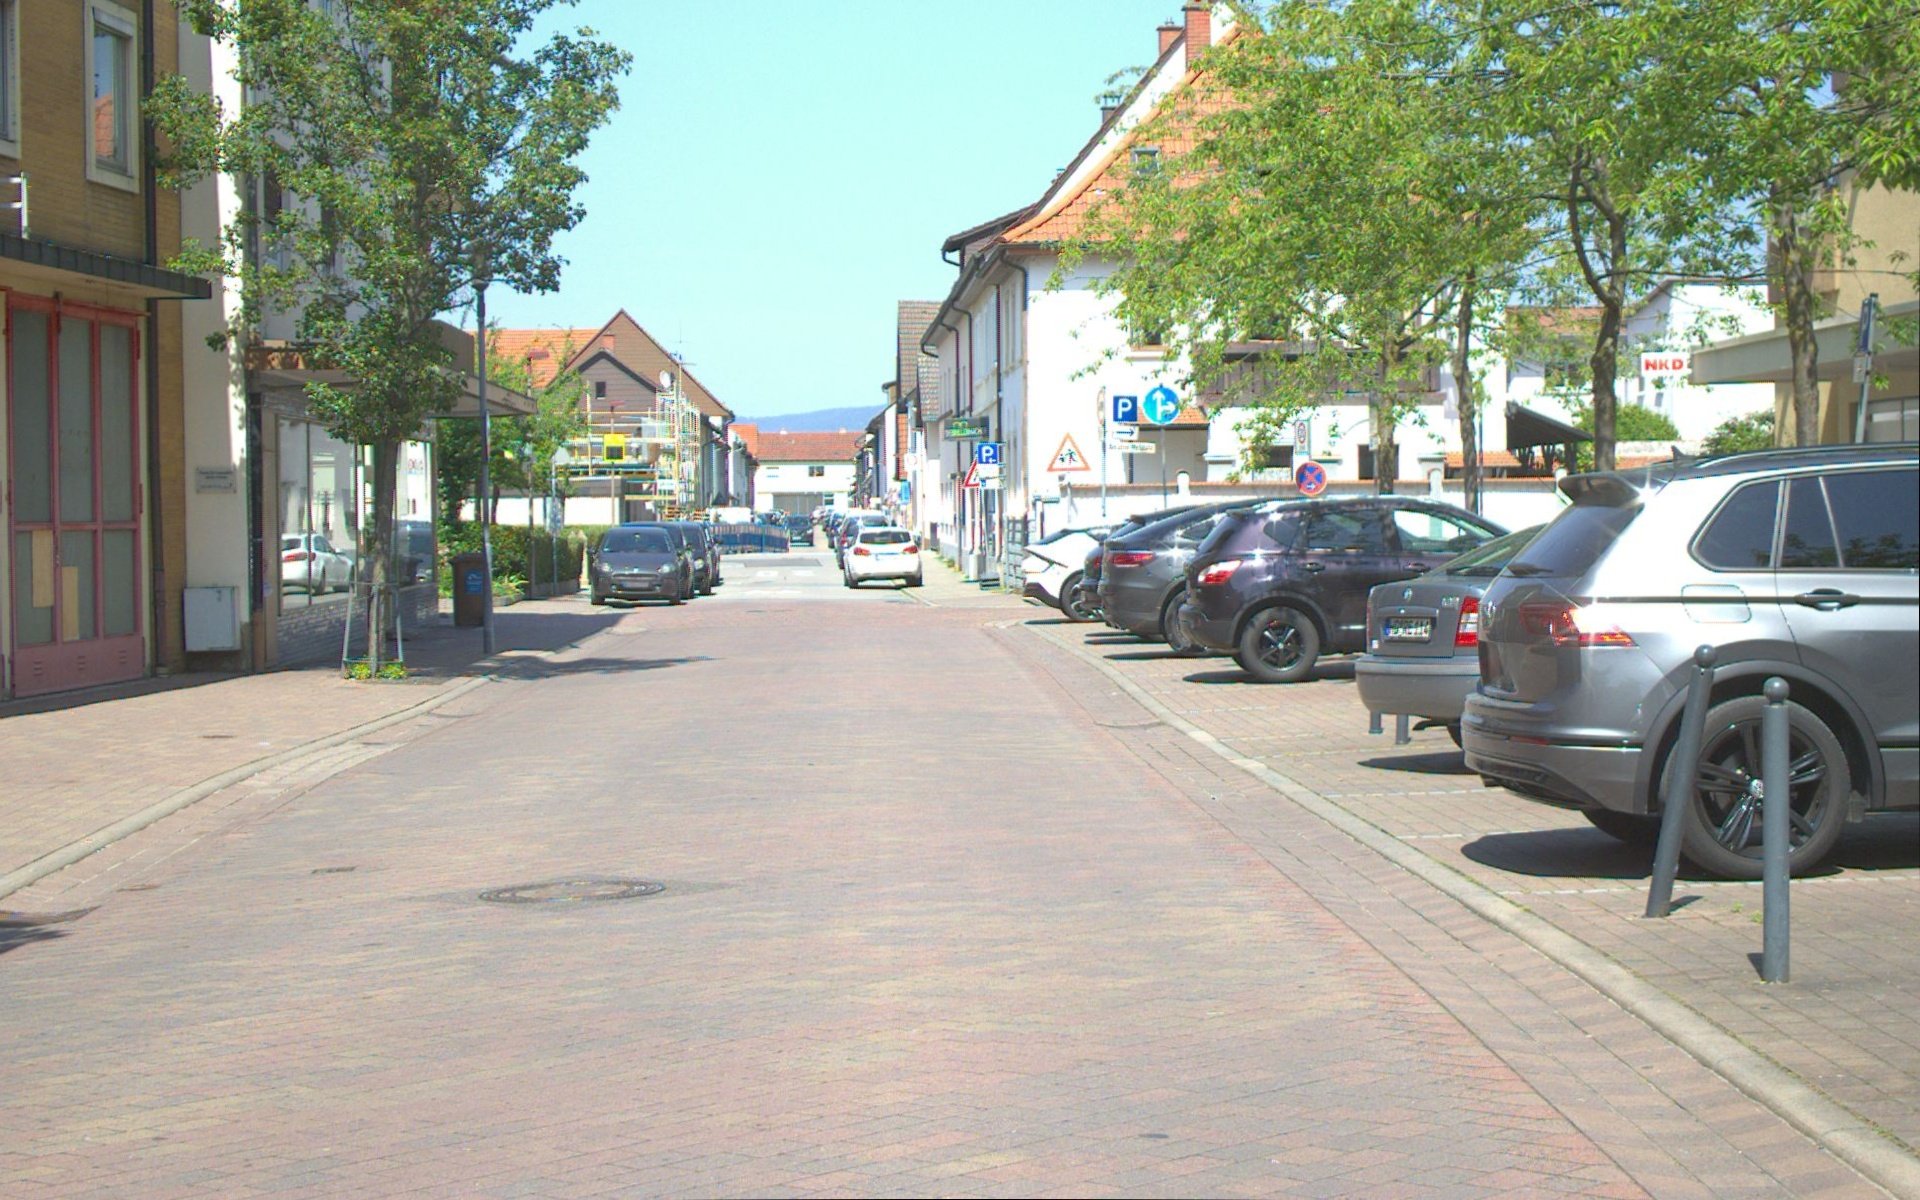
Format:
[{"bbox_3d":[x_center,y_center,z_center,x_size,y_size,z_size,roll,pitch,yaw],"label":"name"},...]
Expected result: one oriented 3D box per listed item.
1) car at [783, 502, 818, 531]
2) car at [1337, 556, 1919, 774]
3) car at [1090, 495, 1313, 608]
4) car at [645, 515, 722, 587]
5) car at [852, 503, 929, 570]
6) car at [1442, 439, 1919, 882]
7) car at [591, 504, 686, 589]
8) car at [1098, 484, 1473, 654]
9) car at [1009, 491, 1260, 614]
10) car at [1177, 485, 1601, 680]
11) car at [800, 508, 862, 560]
[{"bbox_3d":[-8.558,-4.483,184.417,1.747,1.476,3.629,-1,3,-1],"label":"car"},{"bbox_3d":[4.010,0.342,19.517,3.521,1.137,1.274,-1,1,-5],"label":"car"},{"bbox_3d":[3.775,-0.771,54.029,3.347,1.709,1.470,-1,1,-2],"label":"car"},{"bbox_3d":[-6.234,-1.122,77.840,1.507,1.495,3.828,-1,3,-1],"label":"car"},{"bbox_3d":[-1.711,-1.583,84.790,1.831,1.526,3.946,-1,3,-1],"label":"car"},{"bbox_3d":[4.185,0.160,13.672,4.244,1.610,1.558,-2,2,-2],"label":"car"},{"bbox_3d":[-6.132,-1.048,65.880,1.507,1.495,3.828,-1,3,-1],"label":"car"},{"bbox_3d":[3.219,-0.317,34.442,3.521,1.619,1.711,-1,1,-2],"label":"car"},{"bbox_3d":[2.564,-0.713,50.935,3.478,1.694,1.536,-2,1,-6],"label":"car"},{"bbox_3d":[3.788,-0.168,30.764,3.521,1.649,1.711,-1,1,-2],"label":"car"},{"bbox_3d":[-3.901,-2.022,104.408,1.747,1.476,3.629,-1,3,-1],"label":"car"}]
